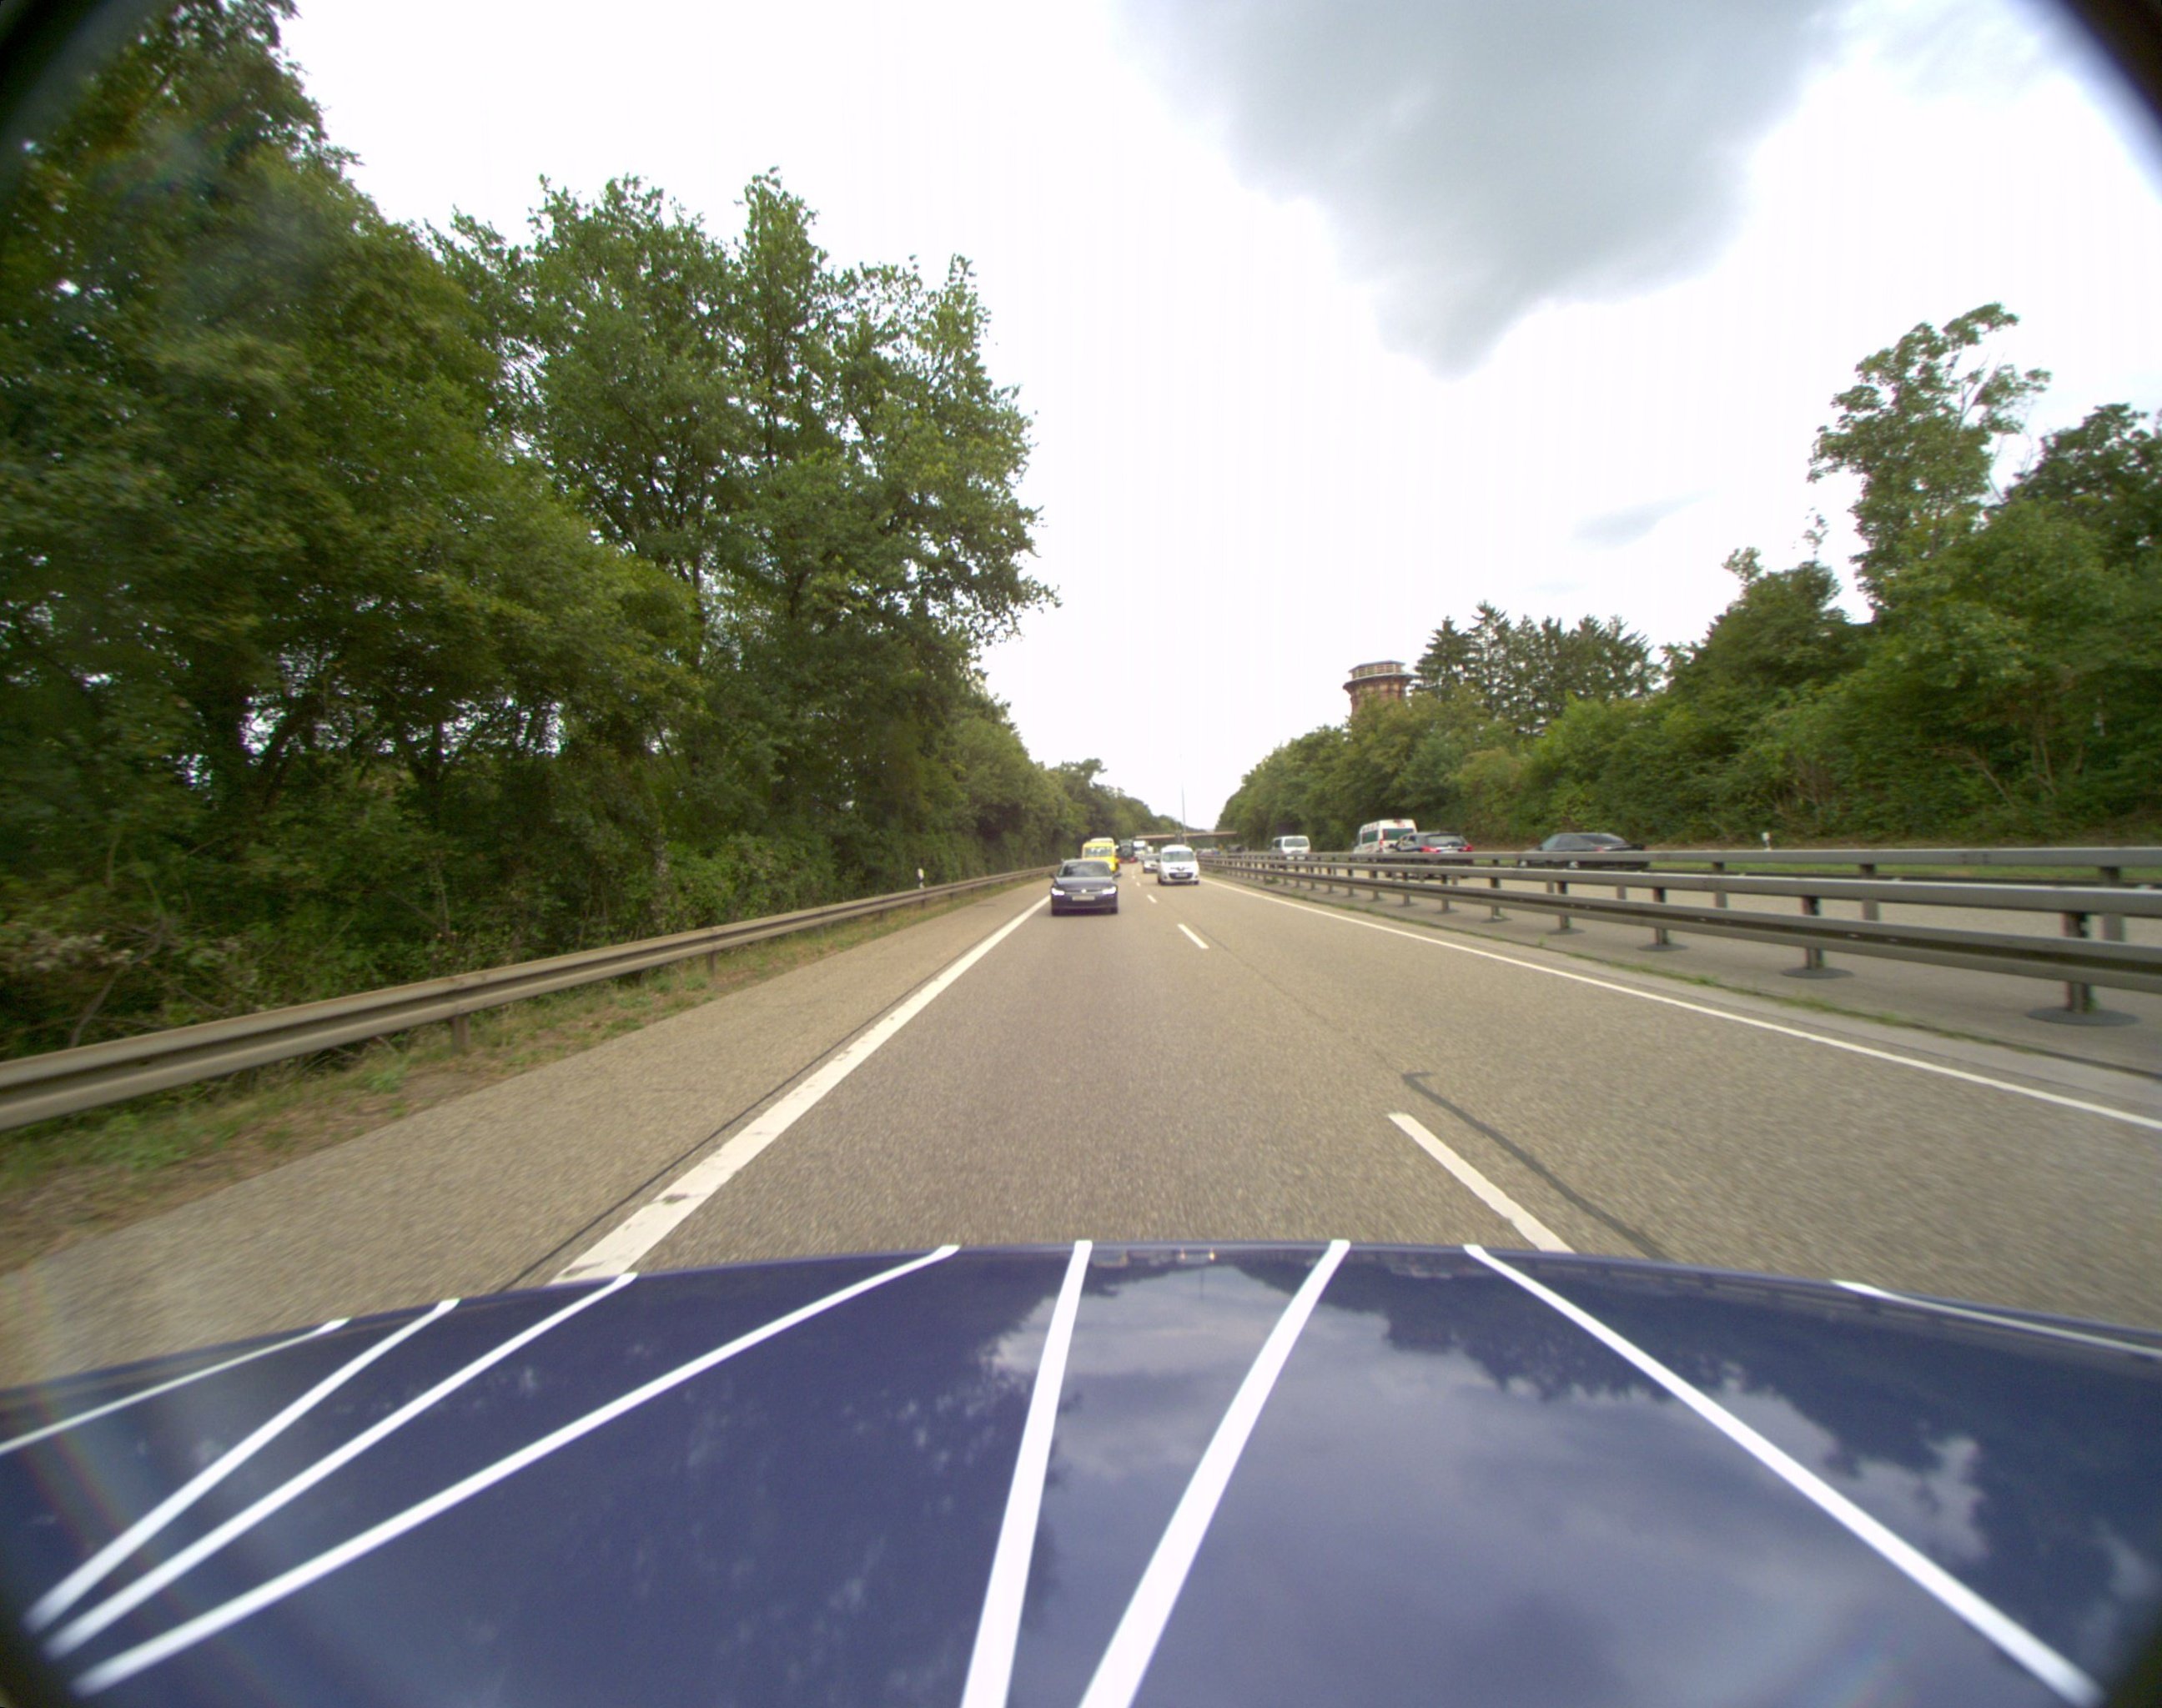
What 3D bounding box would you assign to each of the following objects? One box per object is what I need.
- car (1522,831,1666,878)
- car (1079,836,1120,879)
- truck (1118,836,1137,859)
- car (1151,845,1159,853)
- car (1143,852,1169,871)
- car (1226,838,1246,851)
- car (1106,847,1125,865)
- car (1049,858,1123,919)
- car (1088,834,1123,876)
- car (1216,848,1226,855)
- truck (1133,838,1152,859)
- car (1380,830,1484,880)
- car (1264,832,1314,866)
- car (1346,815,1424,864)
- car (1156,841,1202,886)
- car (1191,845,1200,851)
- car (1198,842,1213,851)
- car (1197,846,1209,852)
[{"bbox_3d":[15.989,-0.002,23.962,1.779,1.289,4.107,-2,1,1],"label":"car"},{"bbox_3d":[1.063,0.166,45.407,2.248,2.334,5.223,-2,1,0],"label":"car"},{"bbox_3d":[7.813,-1.102,125.870,2.547,3.564,6.460,-1,1,8],"label":"truck"},{"bbox_3d":[18.866,-1.294,193.938,1.679,1.840,4.002,-1,1,8],"label":"car"},{"bbox_3d":[5.782,0.553,59.030,1.772,1.416,4.199,-1,1,3],"label":"car"},{"bbox_3d":[22.576,-1.341,110.910,2.039,1.793,5.124,-1,1,3],"label":"car"},{"bbox_3d":[3.392,0.161,75.619,1.678,1.763,3.937,-2,1,0],"label":"car"},{"bbox_3d":[0.158,0.882,21.189,1.800,1.398,4.639,-2,1,1],"label":"car"},{"bbox_3d":[1.669,0.018,53.760,2.207,2.732,6.167,-2,1,0],"label":"car"},{"bbox_3d":[31.835,-0.613,173.019,1.815,1.441,4.058,-1,1,6],"label":"car"},{"bbox_3d":[13.384,-1.227,164.146,3.097,4.462,12.216,-1,1,8],"label":"truck"},{"bbox_3d":[12.037,0.002,26.374,1.786,1.554,4.014,-1,1,1],"label":"car"},{"bbox_3d":[13.032,-0.307,47.823,1.826,1.972,5.057,-1,1,1],"label":"car"},{"bbox_3d":[17.214,-0.806,43.399,2.317,2.596,5.553,-1,1,1],"label":"car"},{"bbox_3d":[4.658,0.411,36.564,1.821,1.993,4.423,-1,1,3],"label":"car"},{"bbox_3d":[28.408,-1.539,188.593,1.715,1.418,4.058,-1,1,5],"label":"car"},{"bbox_3d":[17.990,-1.046,110.058,1.659,1.271,4.713,-1,1,3],"label":"car"},{"bbox_3d":[24.855,-1.025,155.435,1.982,1.292,4.069,-1,1,3],"label":"car"}]
